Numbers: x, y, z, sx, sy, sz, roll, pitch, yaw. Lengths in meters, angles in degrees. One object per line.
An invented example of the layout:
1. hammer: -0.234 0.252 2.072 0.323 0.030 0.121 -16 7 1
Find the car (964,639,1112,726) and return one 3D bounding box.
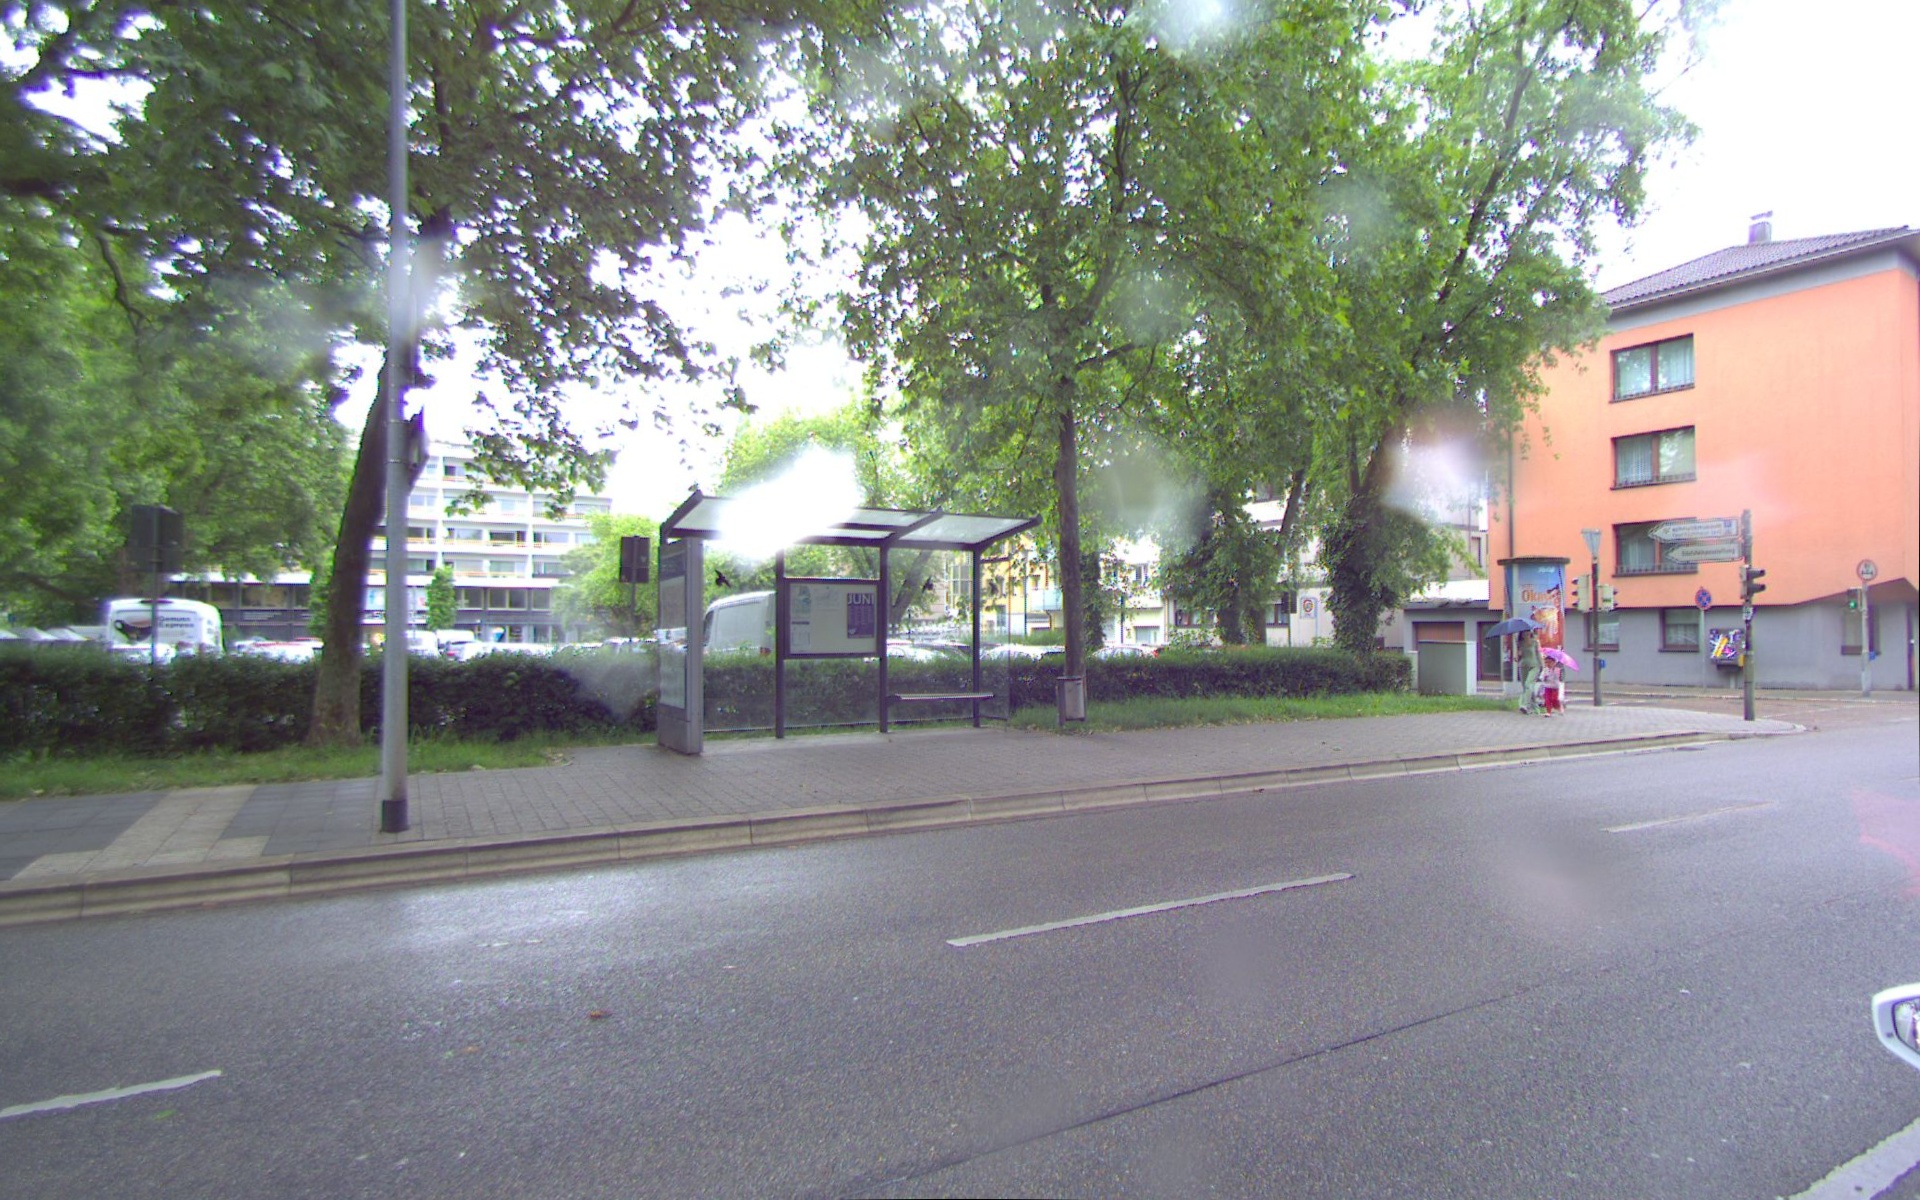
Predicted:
1. car: 1.574 1.660 21.165 1.492 1.544 3.174 2 0 -32

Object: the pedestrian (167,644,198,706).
1. pedestrian: -15.833 1.514 20.455 0.462 1.229 0.434 2 0 -37

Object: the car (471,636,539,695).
1. car: -12.100 1.711 26.644 1.375 1.454 3.248 1 -3 -29

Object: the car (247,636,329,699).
1. car: -16.521 1.626 24.787 1.375 1.454 3.248 1 -3 -29

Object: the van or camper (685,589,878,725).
1. van or camper: -3.439 1.035 18.689 2.026 2.198 4.458 2 -3 -32

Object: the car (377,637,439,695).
1. car: -14.743 1.725 26.847 1.375 1.454 3.248 1 -3 -29

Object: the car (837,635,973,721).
1. car: -1.221 1.576 21.182 1.492 1.544 3.174 2 0 -32

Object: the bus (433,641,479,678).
1. bus: -22.380 2.610 44.567 1.587 1.559 3.403 2 -3 -30

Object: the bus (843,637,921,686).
1. bus: -2.472 1.904 31.543 1.364 1.451 2.777 2 -3 -30

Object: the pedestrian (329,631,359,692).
1. pedestrian: -12.663 1.254 20.633 0.462 1.229 0.434 2 0 -37

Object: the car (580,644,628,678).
1. car: -15.206 2.579 42.825 1.332 1.401 3.141 2 -3 -30

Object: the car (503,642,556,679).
1. car: -17.705 2.453 41.234 1.587 1.447 3.293 2 -3 -30

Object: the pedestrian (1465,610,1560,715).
1. pedestrian: 9.838 1.082 17.888 1.195 1.765 0.987 1 0 -30

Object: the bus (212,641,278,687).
1. bus: -25.558 2.272 36.013 1.587 1.559 3.403 2 -3 -30

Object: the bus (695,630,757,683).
1. bus: -7.839 1.865 33.518 1.363 1.698 2.779 1 -3 -28

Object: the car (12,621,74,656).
1. car: -40.835 1.693 44.785 1.412 1.447 2.941 1 0 -30

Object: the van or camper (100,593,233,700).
1. van or camper: -20.707 1.217 26.419 2.074 2.570 4.392 1 -3 -30

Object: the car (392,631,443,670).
1. car: -20.909 1.946 38.684 1.587 1.447 3.293 2 -3 -30

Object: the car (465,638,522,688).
1. car: -14.551 1.942 31.276 1.375 1.454 3.248 1 -3 -29

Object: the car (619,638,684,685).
1. car: -10.002 1.961 32.470 1.375 1.454 3.248 1 -3 -29

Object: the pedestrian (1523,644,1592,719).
1. pedestrian: 10.066 1.358 16.933 0.817 1.190 0.681 1 0 -30

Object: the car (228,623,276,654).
1. car: -33.723 1.857 47.905 1.587 1.447 3.293 2 -3 -30

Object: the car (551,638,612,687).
1. car: -11.967 1.937 31.677 1.375 1.454 3.248 1 -3 -29

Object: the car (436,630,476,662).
1. car: -27.214 2.457 54.219 1.622 1.544 3.174 2 0 -32

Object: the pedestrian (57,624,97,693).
1. pedestrian: -16.176 1.064 18.408 0.481 1.229 0.434 2 0 -37

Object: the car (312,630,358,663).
1. car: -31.429 2.312 50.581 1.818 1.444 3.799 2 0 -31

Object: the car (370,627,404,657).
1. car: -33.051 2.399 57.912 1.622 1.544 3.174 1 1 -32

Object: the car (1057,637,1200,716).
1. car: 3.795 1.685 23.036 1.492 1.544 3.174 2 0 -32

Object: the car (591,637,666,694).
1. car: -9.121 1.761 27.500 1.375 1.454 3.248 1 -3 -29
